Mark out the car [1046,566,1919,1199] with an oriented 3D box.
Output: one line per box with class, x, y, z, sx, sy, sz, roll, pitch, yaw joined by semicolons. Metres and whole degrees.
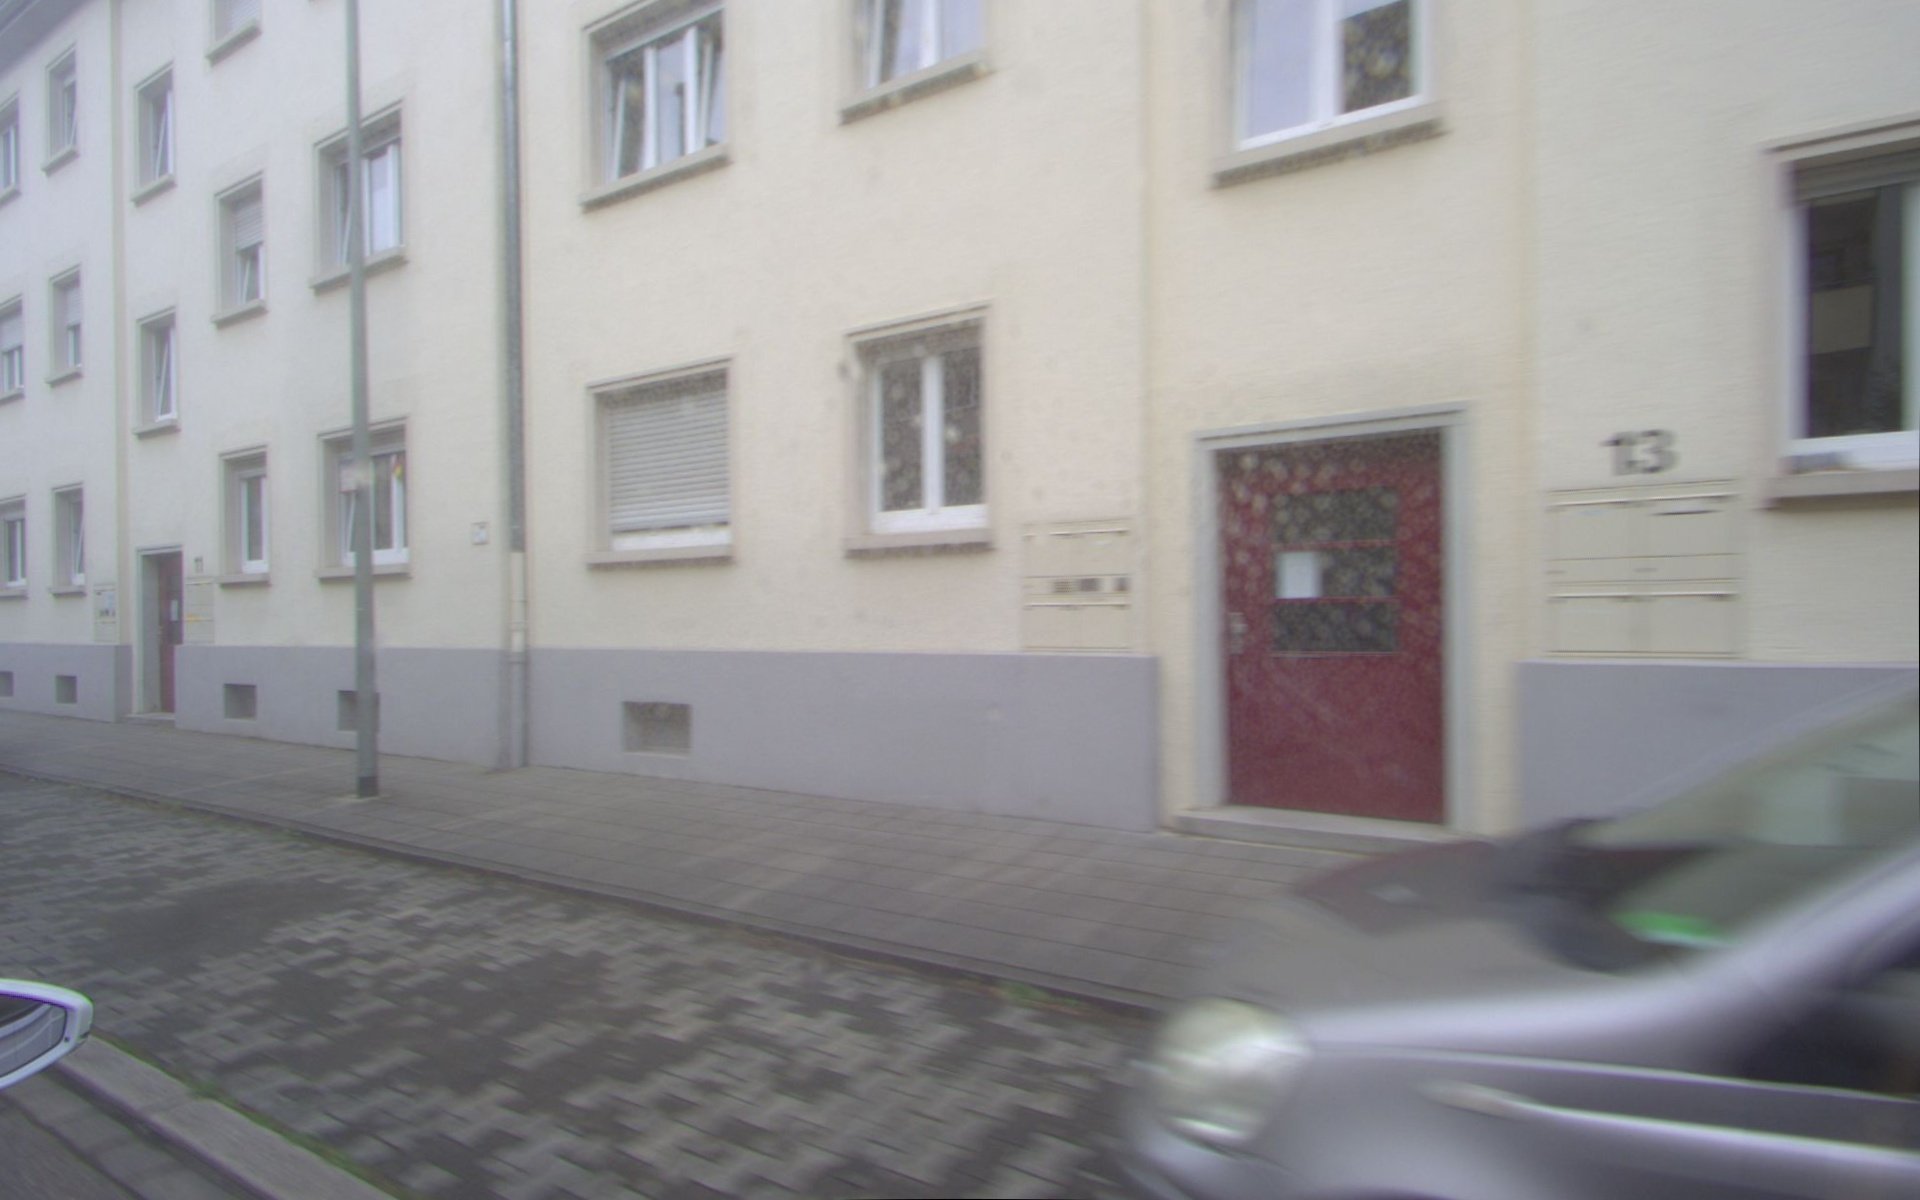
car;2.298;0.724;1.423;4.001;1.537;1.722;-1;0;31
